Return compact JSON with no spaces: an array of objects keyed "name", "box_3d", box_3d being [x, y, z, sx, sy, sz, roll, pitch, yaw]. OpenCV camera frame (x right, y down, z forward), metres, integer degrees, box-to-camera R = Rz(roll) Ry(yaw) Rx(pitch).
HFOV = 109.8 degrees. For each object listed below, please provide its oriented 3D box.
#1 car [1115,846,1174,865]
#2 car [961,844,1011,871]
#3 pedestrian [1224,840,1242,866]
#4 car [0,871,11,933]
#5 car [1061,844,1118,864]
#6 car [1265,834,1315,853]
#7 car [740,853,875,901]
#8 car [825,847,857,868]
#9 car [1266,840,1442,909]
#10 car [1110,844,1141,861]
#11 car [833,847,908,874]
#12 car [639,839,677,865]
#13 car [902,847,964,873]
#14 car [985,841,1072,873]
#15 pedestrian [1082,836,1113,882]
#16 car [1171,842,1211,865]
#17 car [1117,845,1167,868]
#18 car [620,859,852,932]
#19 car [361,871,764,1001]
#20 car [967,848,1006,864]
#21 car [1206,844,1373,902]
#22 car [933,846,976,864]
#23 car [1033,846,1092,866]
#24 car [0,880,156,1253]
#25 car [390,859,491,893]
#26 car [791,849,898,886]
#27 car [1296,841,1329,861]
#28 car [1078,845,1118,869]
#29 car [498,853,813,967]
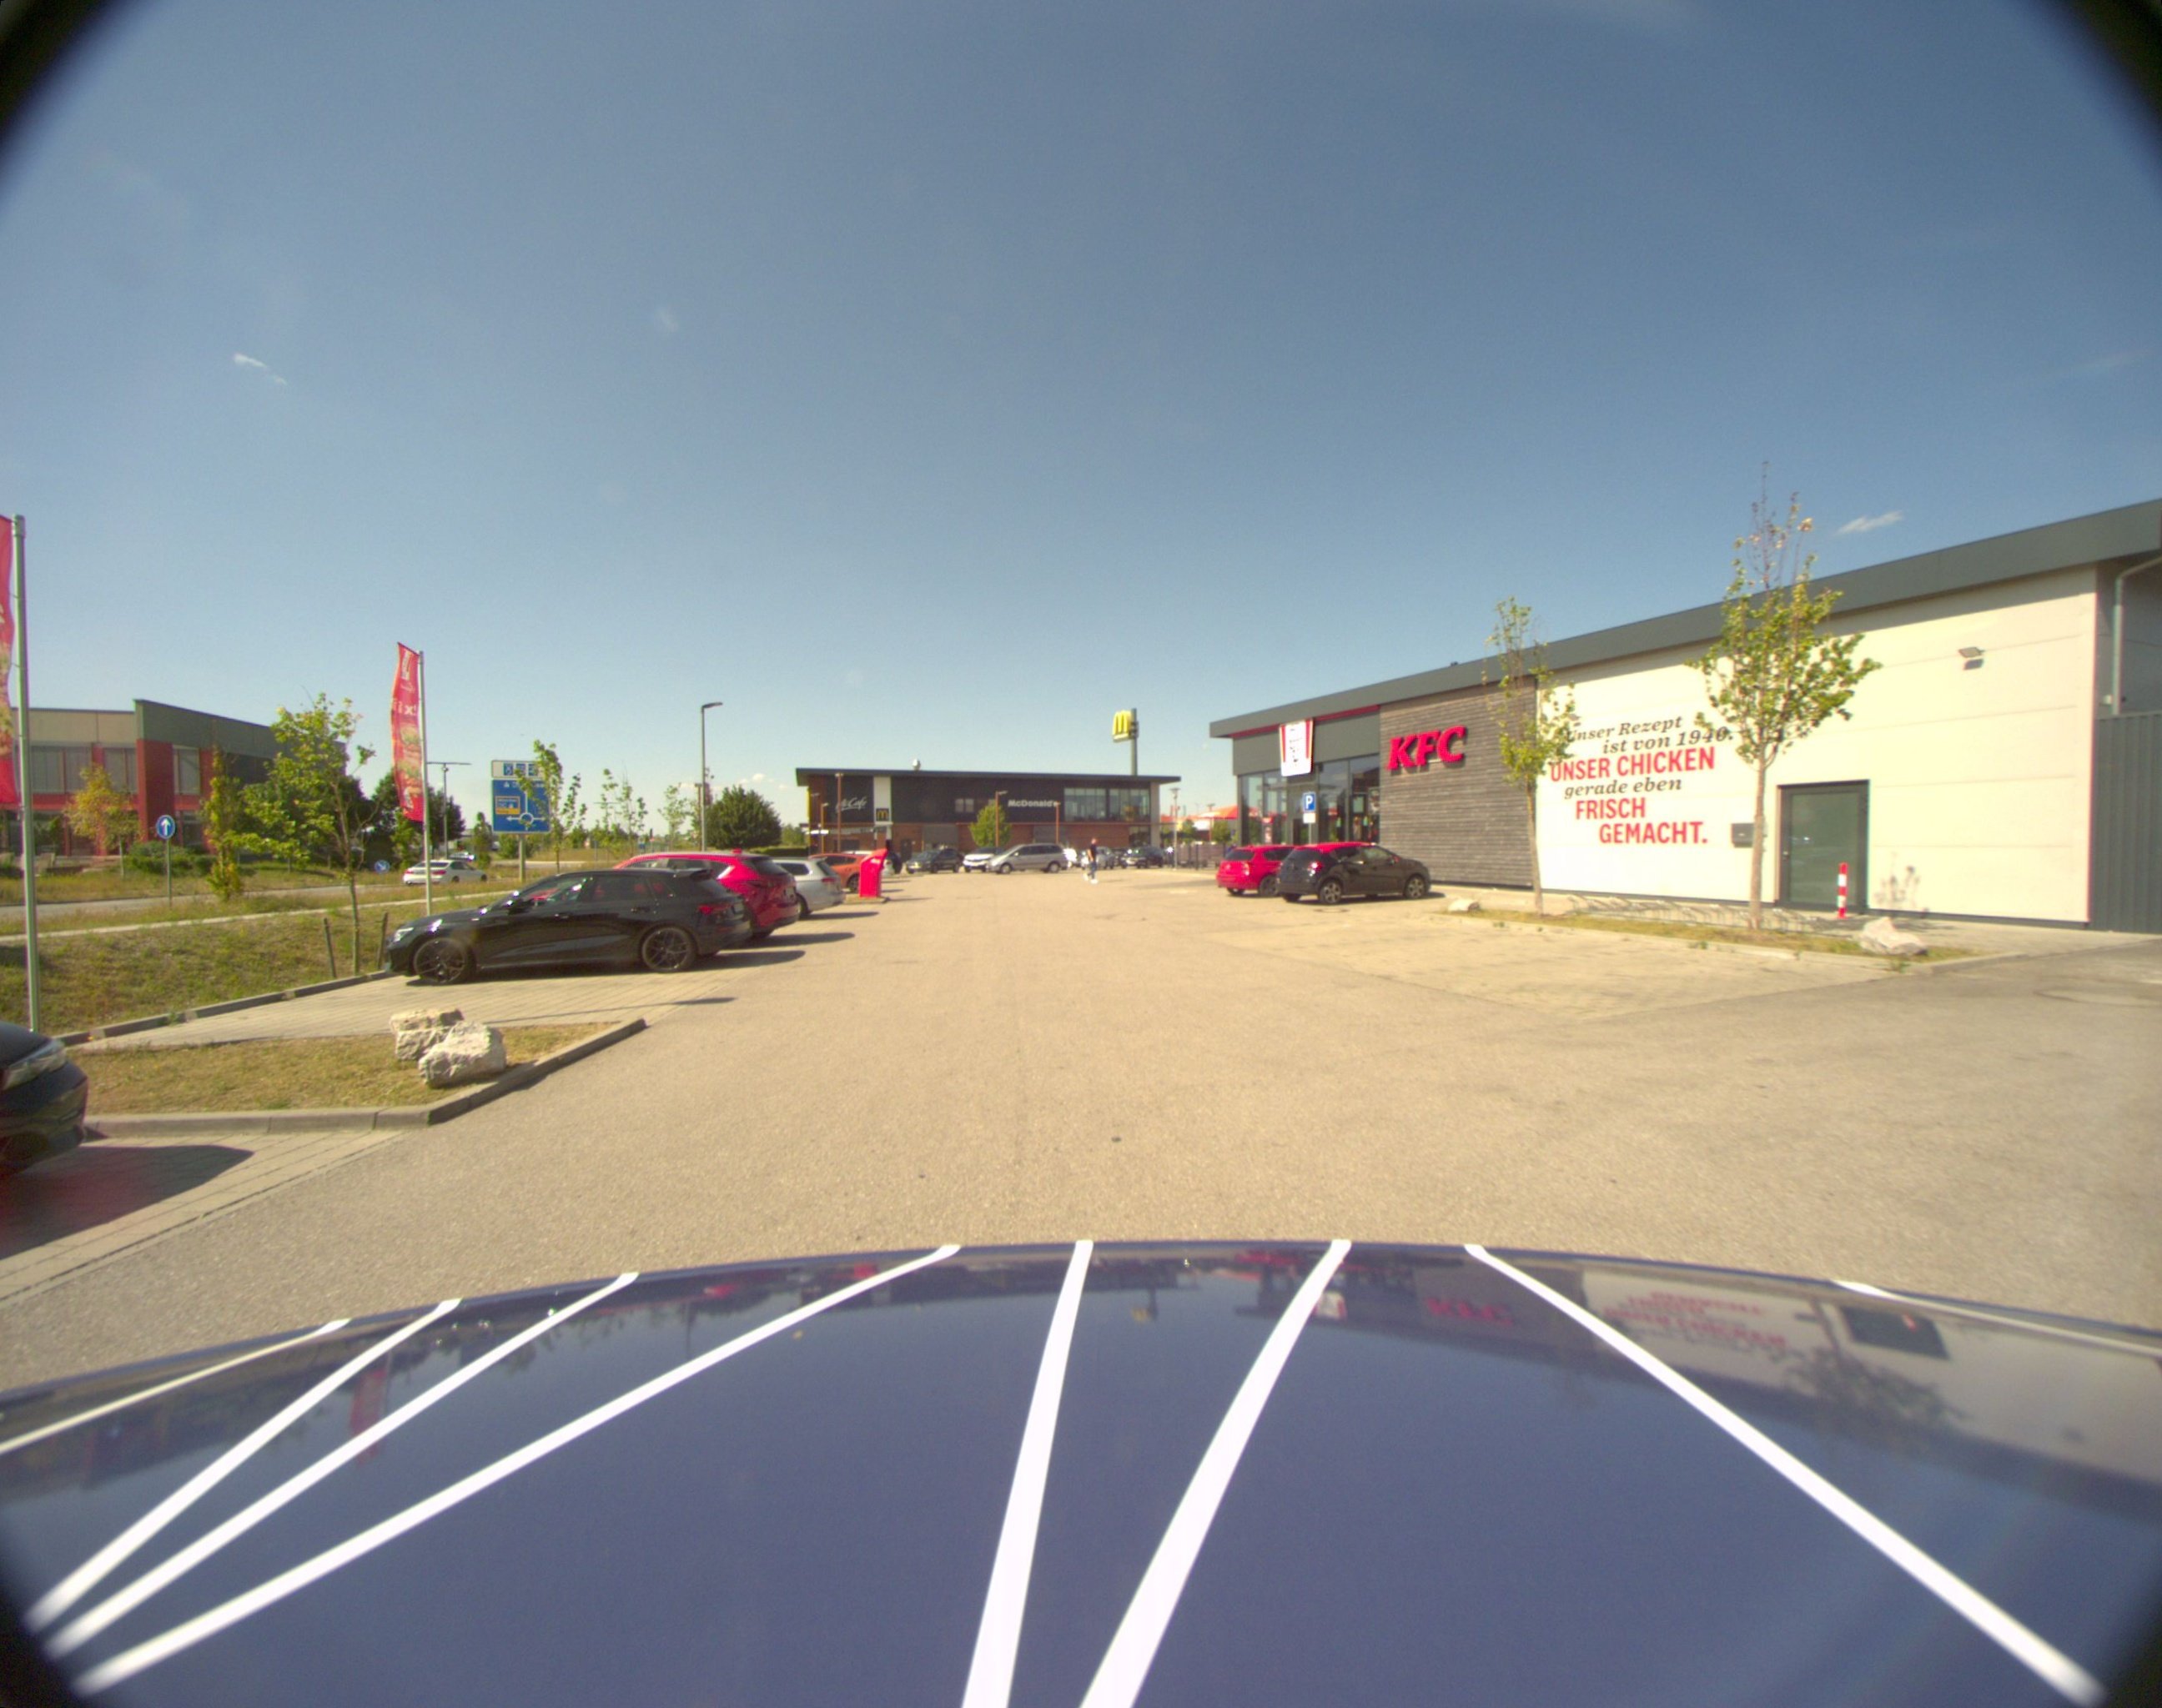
[{"name":"car","box_3d":[5.048,0.127,60.612,4.269,1.478,1.816,-1,1,26]},{"name":"car","box_3d":[-5.917,0.198,47.882,1.972,1.645,4.210,-1,0,10]},{"name":"pedestrian","box_3d":[7.587,-0.052,37.889,0.625,1.266,0.612,-1,1,-36]},{"name":"car","box_3d":[-27.232,1.203,16.431,2.000,1.518,4.652,-1,0,-10]},{"name":"car","box_3d":[0.692,-0.006,60.019,4.104,1.506,1.816,-1,1,26]},{"name":"car","box_3d":[18.094,-0.861,65.740,3.990,1.543,1.757,-1,1,23]},{"name":"car","box_3d":[-9.764,0.776,27.446,4.355,1.461,1.830,-2,2,-13]},{"name":"car","box_3d":[-19.816,0.242,62.705,1.999,1.681,4.227,-1,1,-24]},{"name":"car","box_3d":[6.782,0.457,18.907,3.912,1.498,1.737,-2,1,-21]},{"name":"car","box_3d":[4.388,-0.189,74.947,1.713,1.603,4.043,-1,0,24]},{"name":"car","box_3d":[-12.491,0.344,45.390,1.970,1.517,4.340,0,1,24]},{"name":"car","box_3d":[-37.503,-0.210,67.493,2.002,2.184,5.097,-1,0,-19]},{"name":"car","box_3d":[-9.055,0.325,46.752,1.971,1.517,4.212,-1,0,17]},{"name":"car","box_3d":[-3.032,0.148,43.978,4.688,1.738,1.830,-1,1,-21]},{"name":"pedestrian","box_3d":[0.654,0.186,30.082,0.995,1.799,0.725,-2,2,-15]},{"name":"car","box_3d":[7.708,-0.049,52.729,1.832,1.451,4.376,-1,0,20]},{"name":"car","box_3d":[4.236,0.152,51.890,1.971,1.478,4.790,-1,0,22]},{"name":"car","box_3d":[-7.871,0.916,17.765,4.601,1.405,1.739,-2,1,-9]},{"name":"car","box_3d":[-6.874,1.034,10.563,4.207,1.402,1.772,-2,1,-10]},{"name":"car","box_3d":[-8.738,0.174,70.574,1.958,1.457,4.473,-1,0,17]},{"name":"car","box_3d":[5.936,0.475,21.571,4.406,1.405,1.737,-2,1,-22]},{"name":"car","box_3d":[-11.694,0.040,70.651,1.958,1.593,4.474,-1,0,20]},{"name":"car","box_3d":[-1.408,0.150,58.036,4.104,1.484,1.714,-1,1,26]},{"name":"car","box_3d":[-7.042,1.028,2.951,4.448,1.628,1.895,-2,1,-1]},{"name":"car","box_3d":[-31.636,1.047,37.708,2.001,1.518,4.651,-1,0,-15]},{"name":"car","box_3d":[-10.770,0.574,34.918,4.483,1.461,1.830,-2,2,-13]},{"name":"car","box_3d":[17.587,-0.220,57.572,1.971,1.451,4.213,-1,0,22]},{"name":"car","box_3d":[1.182,0.161,50.559,1.972,1.517,4.210,-1,0,10]},{"name":"car","box_3d":[-7.055,0.872,13.066,4.231,1.628,1.949,-2,1,-8]}]
